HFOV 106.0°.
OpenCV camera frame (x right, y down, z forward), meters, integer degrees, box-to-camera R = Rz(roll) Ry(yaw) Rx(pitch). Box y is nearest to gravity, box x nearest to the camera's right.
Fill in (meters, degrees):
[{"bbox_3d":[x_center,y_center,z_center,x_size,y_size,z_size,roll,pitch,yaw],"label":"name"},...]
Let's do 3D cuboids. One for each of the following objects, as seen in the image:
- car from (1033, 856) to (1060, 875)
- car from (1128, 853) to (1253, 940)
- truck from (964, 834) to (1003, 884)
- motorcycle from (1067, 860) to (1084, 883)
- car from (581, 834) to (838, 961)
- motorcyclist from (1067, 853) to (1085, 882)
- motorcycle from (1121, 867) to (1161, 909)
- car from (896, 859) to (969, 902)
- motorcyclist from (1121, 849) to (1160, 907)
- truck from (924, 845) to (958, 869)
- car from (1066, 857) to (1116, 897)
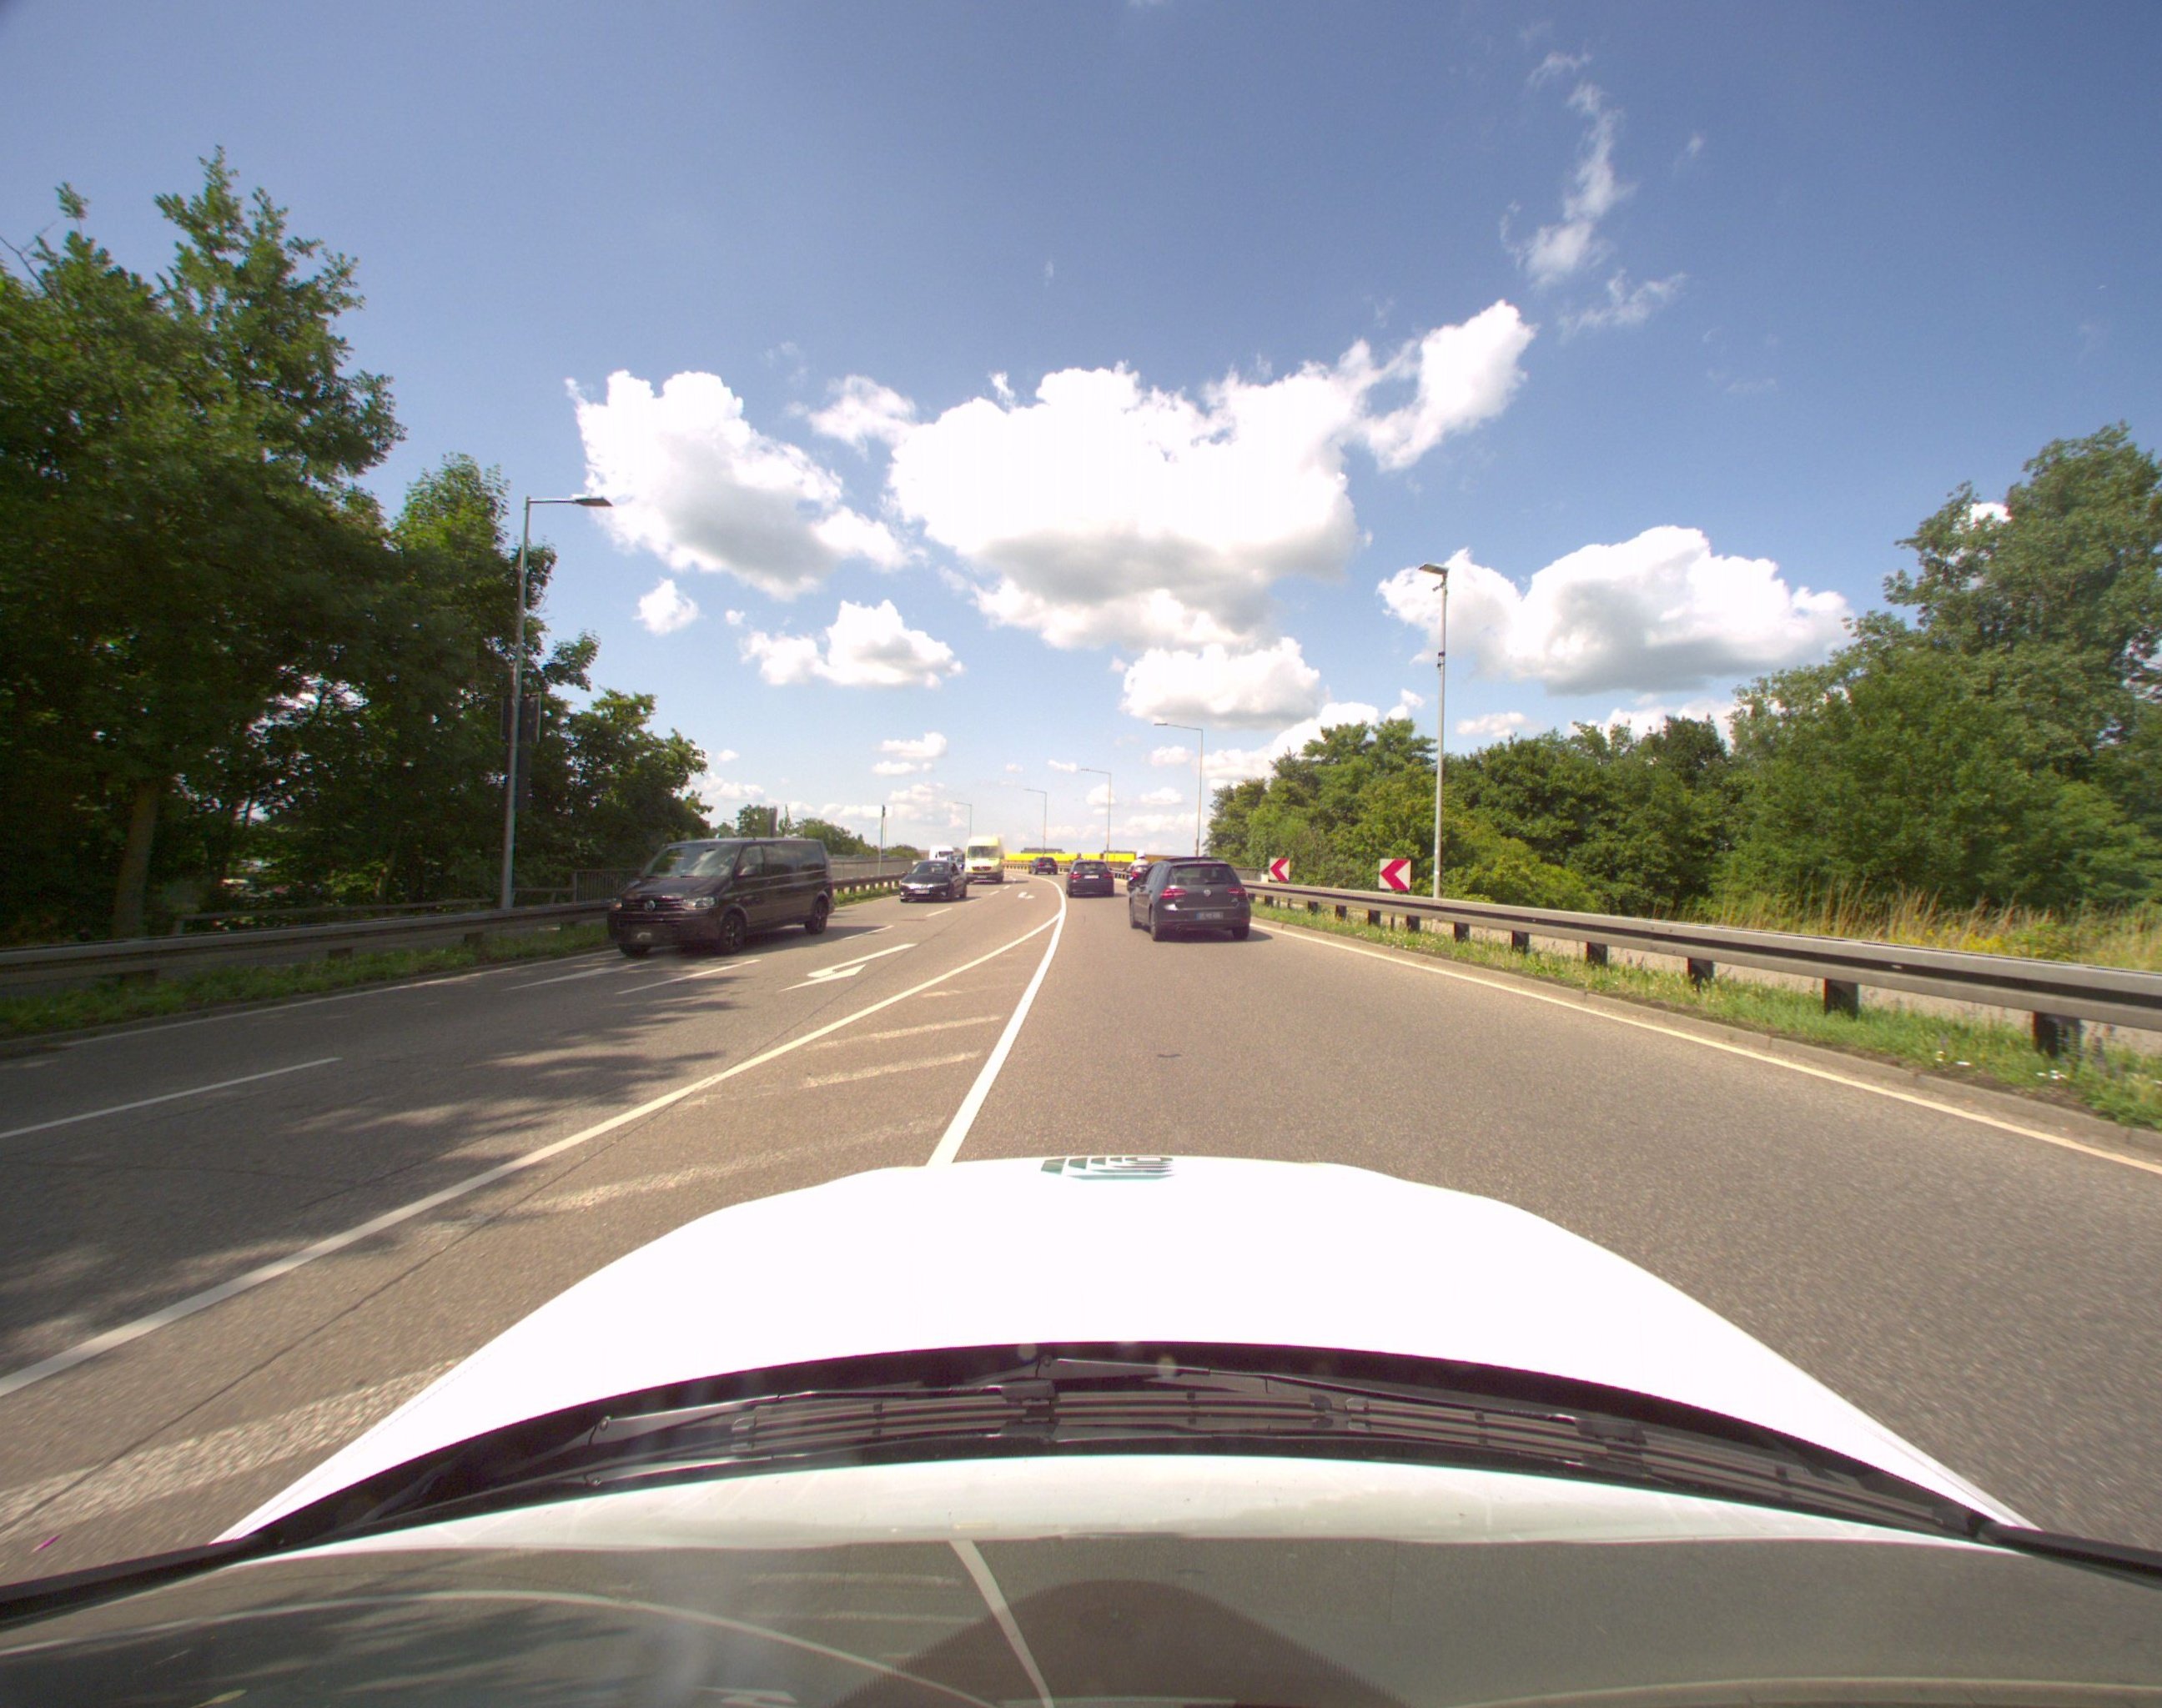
[{"bbox_3d":[-2.785,0.921,65.863,1.643,1.479,3.857,0,-1,-11],"label":"car"},{"bbox_3d":[1.988,0.747,15.805,1.639,1.479,3.866,0,-1,-4],"label":"car"},{"bbox_3d":[-5.522,0.266,46.269,1.992,2.621,6.089,-2,0,-7],"label":"truck"},{"bbox_3d":[-0.315,0.951,45.620,0.885,1.247,2.397,1,0,-3],"label":"motorcycle"},{"bbox_3d":[-6.458,0.667,15.025,1.984,1.913,5.140,-1,0,5],"label":"car"},{"bbox_3d":[-0.307,0.744,45.599,0.963,1.596,1.123,1,-1,-3],"label":"motorcyclist"},{"bbox_3d":[1.714,0.952,23.545,0.788,1.132,2.395,1,0,-5],"label":"motorcycle"},{"bbox_3d":[-5.223,0.903,29.076,1.792,1.389,4.007,-1,0,1],"label":"car"},{"bbox_3d":[1.730,0.690,23.792,0.964,1.620,1.123,1,-1,-6],"label":"motorcyclist"},{"bbox_3d":[-15.204,0.307,88.158,2.004,2.507,5.897,0,0,-26],"label":"truck"},{"bbox_3d":[0.332,0.862,31.131,1.678,1.388,3.734,0,-1,-3],"label":"car"}]
